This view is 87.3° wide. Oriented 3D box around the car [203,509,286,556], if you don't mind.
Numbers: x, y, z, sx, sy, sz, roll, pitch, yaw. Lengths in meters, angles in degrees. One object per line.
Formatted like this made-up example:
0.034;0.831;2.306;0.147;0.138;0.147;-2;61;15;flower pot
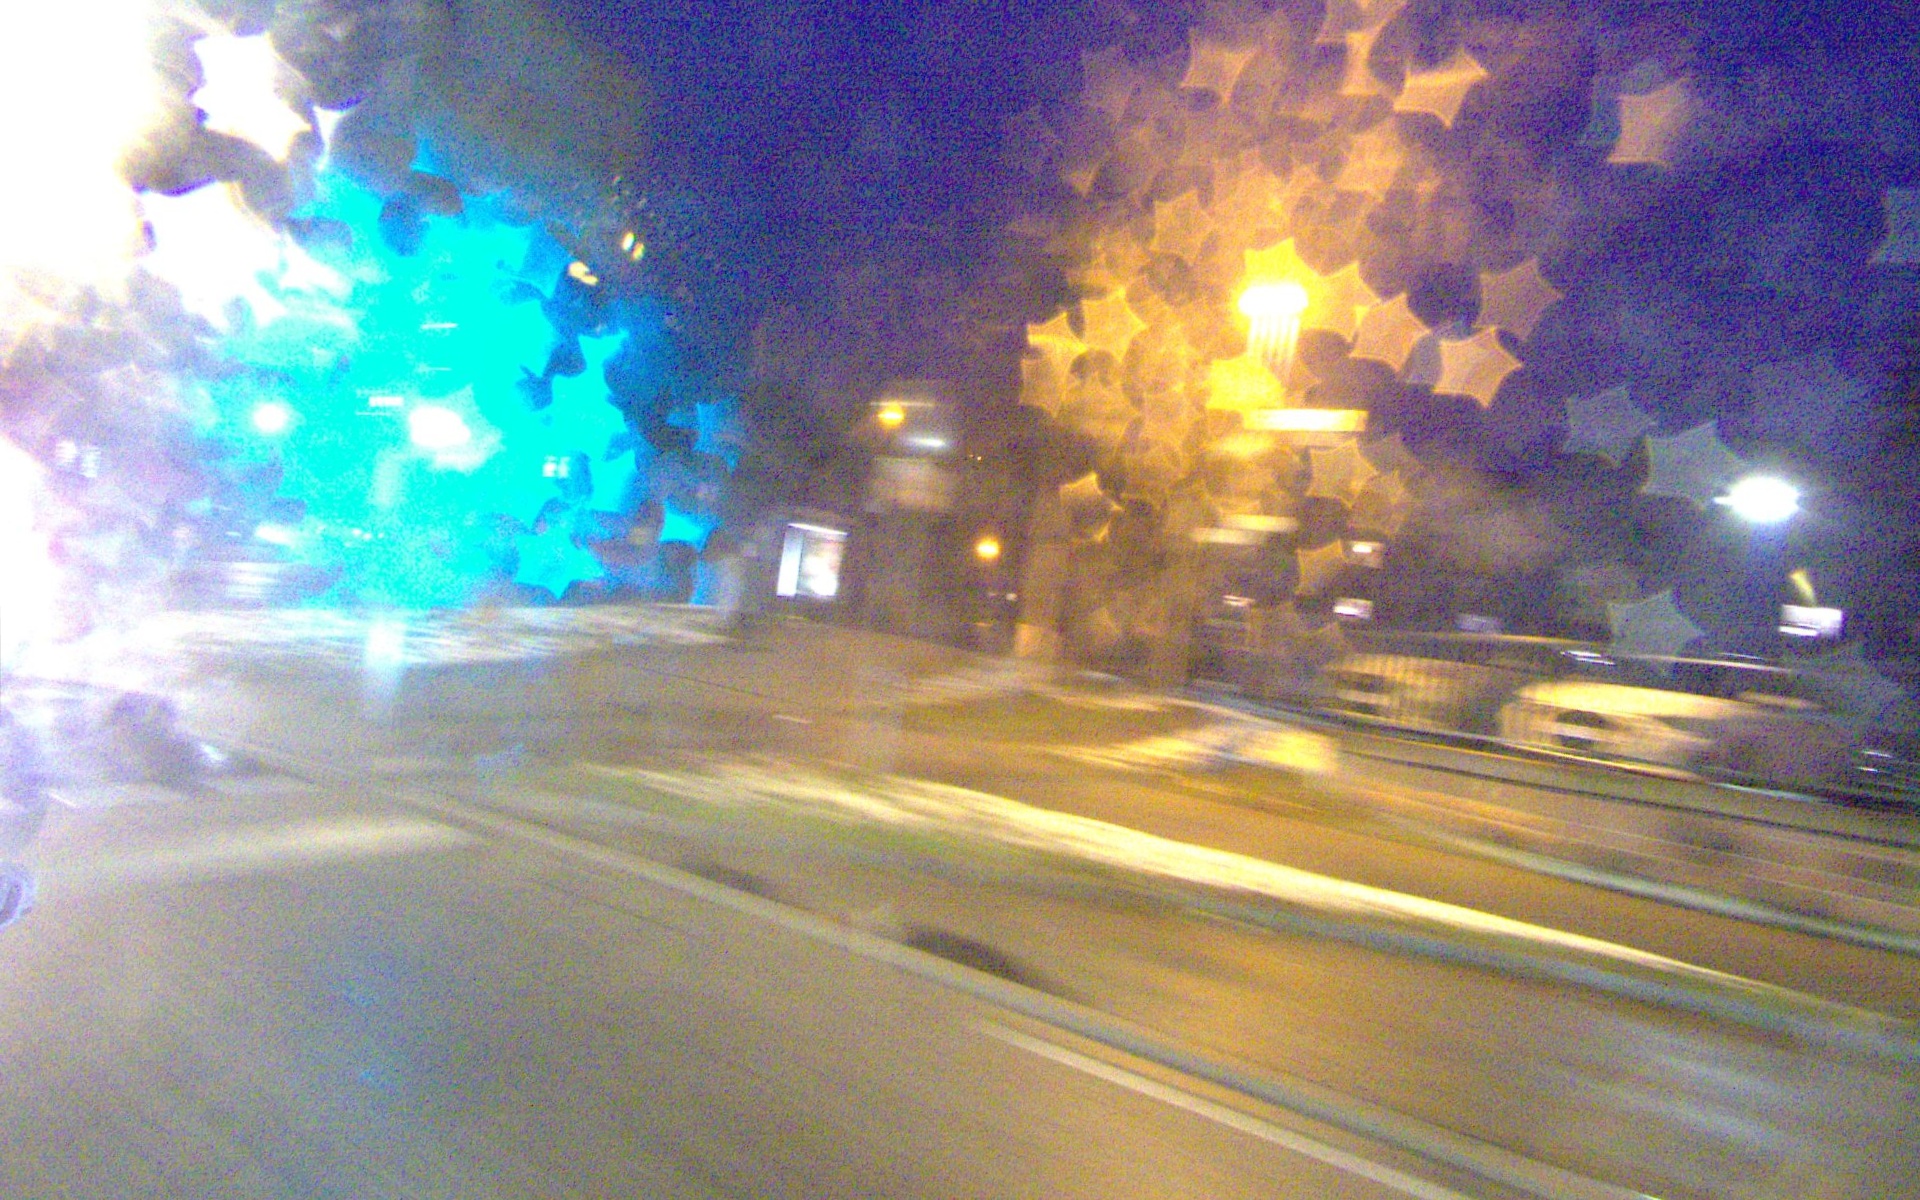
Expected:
-31.742;-3.001;44.613;3.903;1.667;1.864;6;1;37;car

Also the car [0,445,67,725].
-8.652;-0.369;7.284;4.267;1.886;1.856;7;-2;30;car

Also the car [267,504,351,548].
-41.010;-4.655;63.413;1.974;2.036;3.981;6;-3;44;car

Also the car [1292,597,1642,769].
6.345;1.037;12.586;3.841;1.592;1.823;9;-2;-25;car

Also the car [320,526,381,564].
-33.280;-3.023;54.918;4.017;1.688;1.769;6;-2;44;car

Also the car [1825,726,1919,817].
17.078;3.128;17.855;3.966;1.299;1.645;9;-2;-35;car

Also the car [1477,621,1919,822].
7.712;1.270;10.439;4.289;1.476;1.841;9;-2;-25;car
